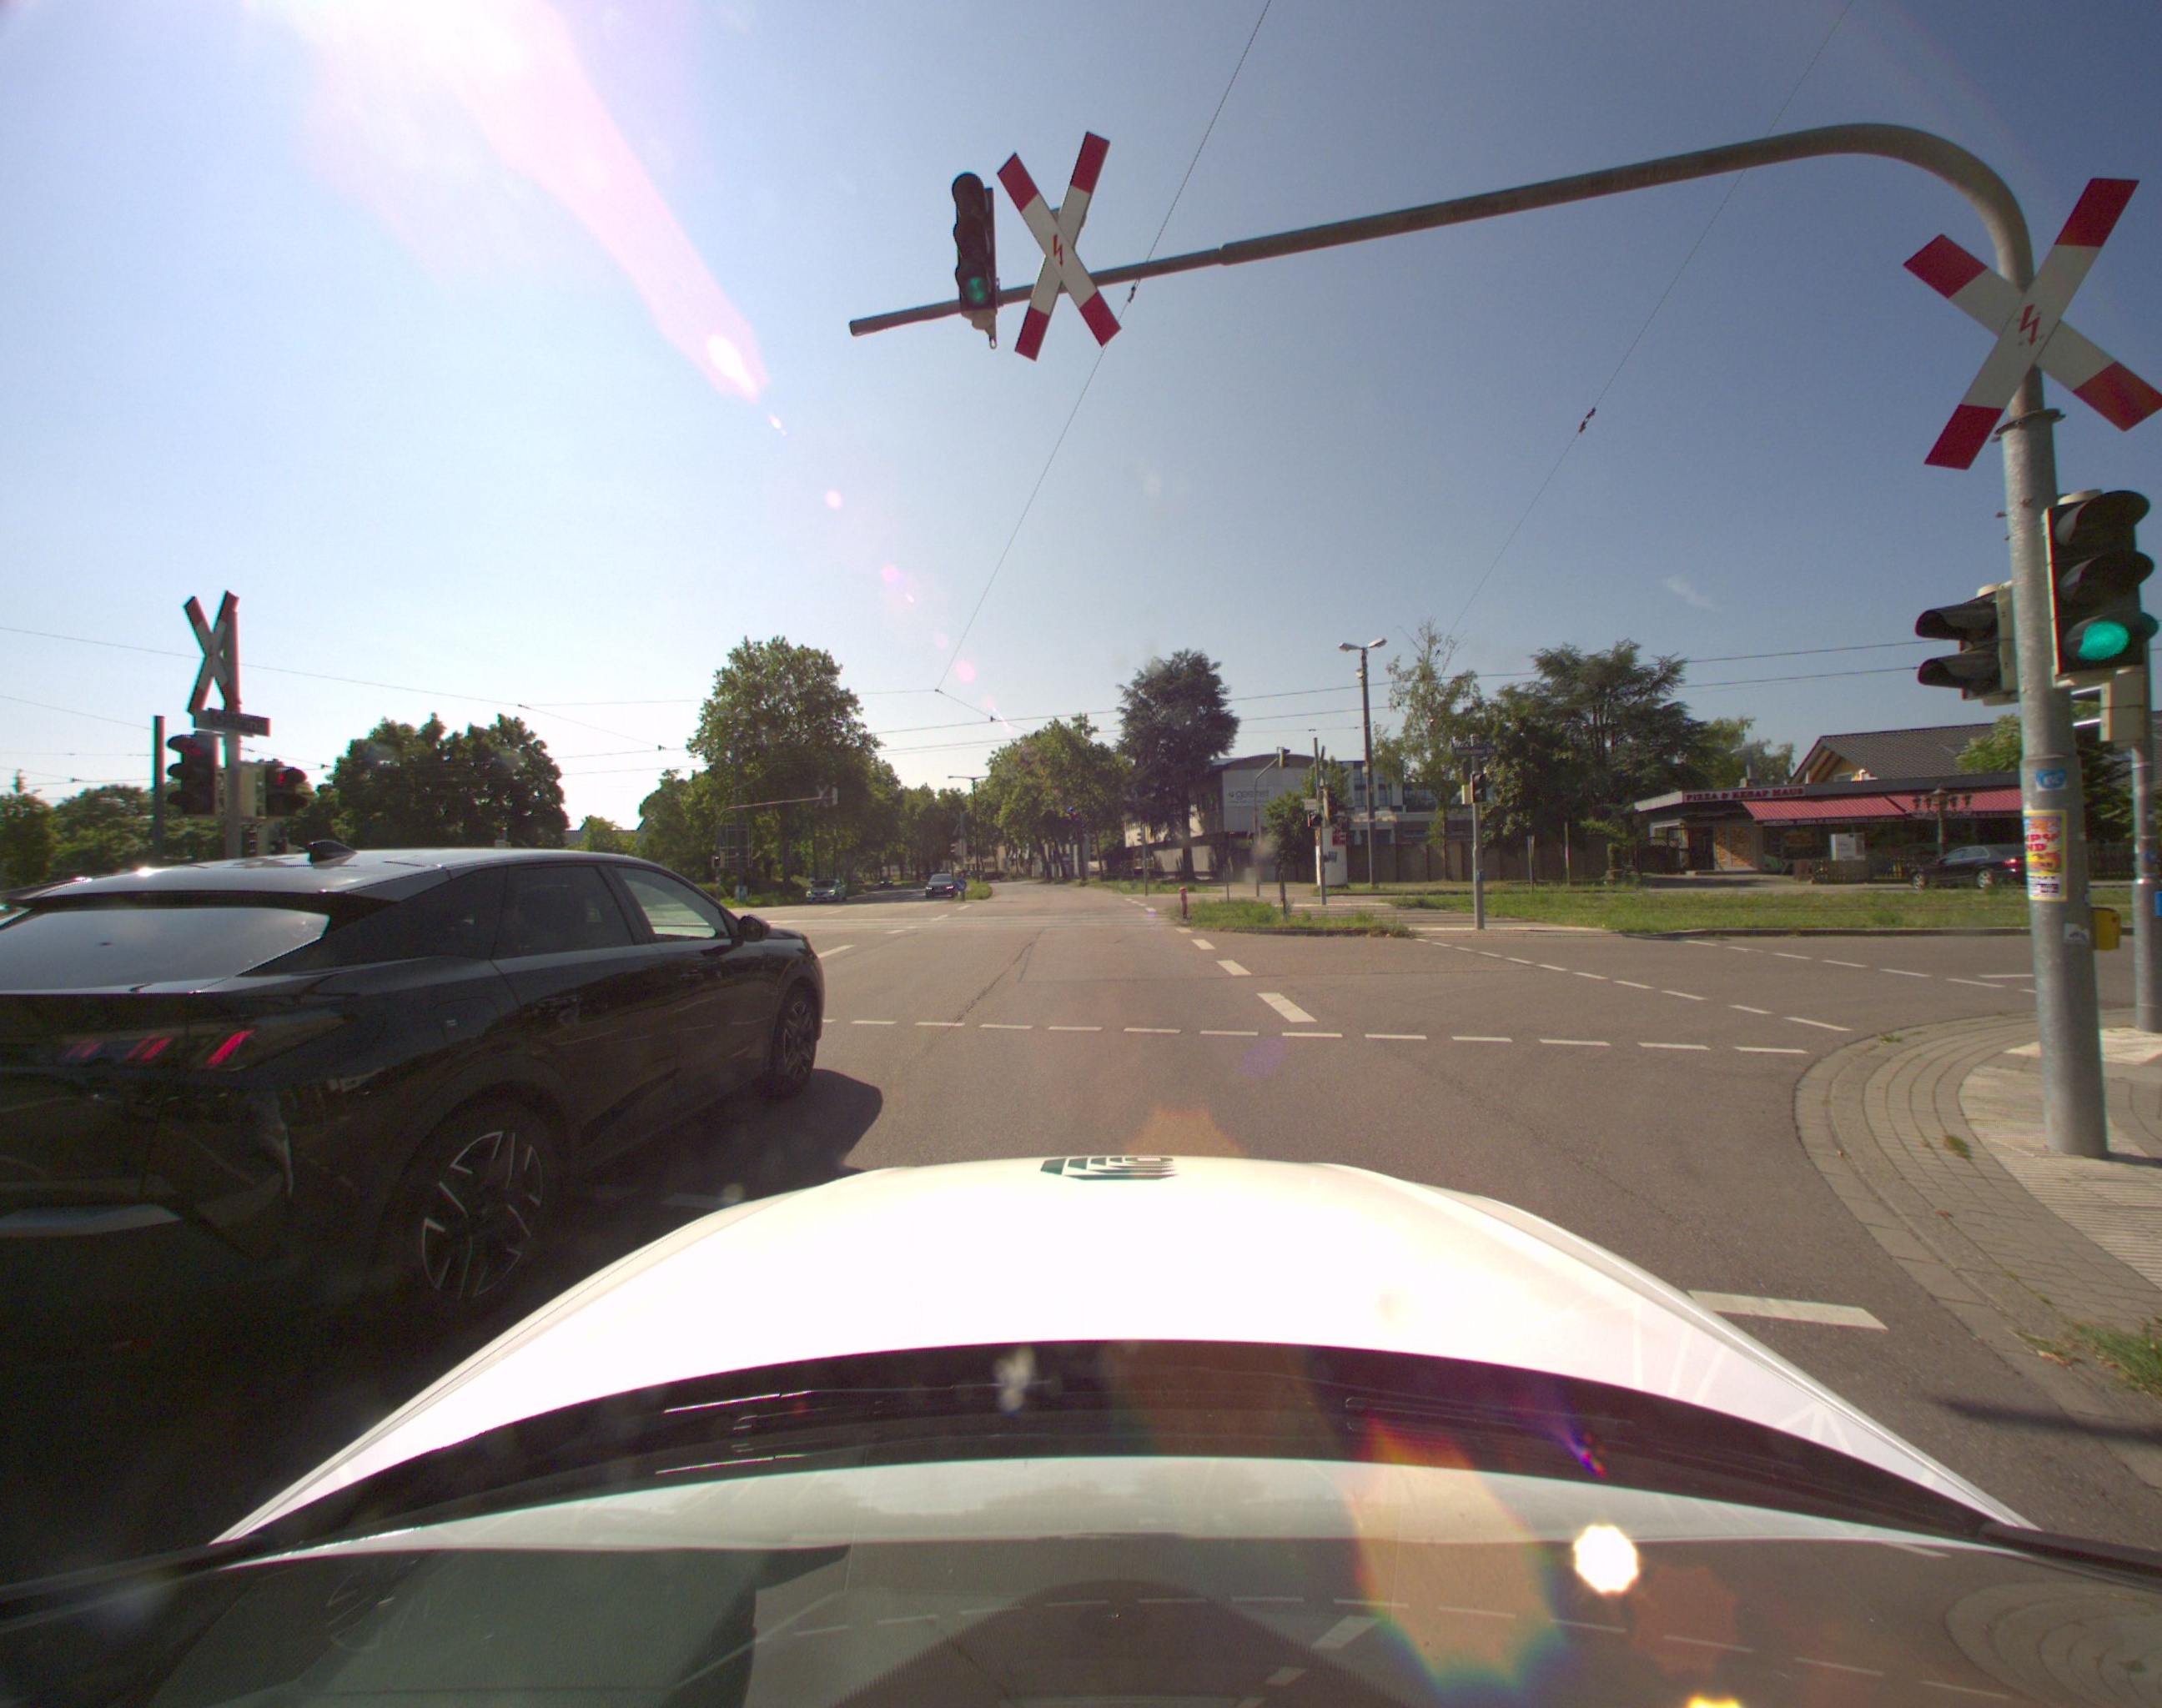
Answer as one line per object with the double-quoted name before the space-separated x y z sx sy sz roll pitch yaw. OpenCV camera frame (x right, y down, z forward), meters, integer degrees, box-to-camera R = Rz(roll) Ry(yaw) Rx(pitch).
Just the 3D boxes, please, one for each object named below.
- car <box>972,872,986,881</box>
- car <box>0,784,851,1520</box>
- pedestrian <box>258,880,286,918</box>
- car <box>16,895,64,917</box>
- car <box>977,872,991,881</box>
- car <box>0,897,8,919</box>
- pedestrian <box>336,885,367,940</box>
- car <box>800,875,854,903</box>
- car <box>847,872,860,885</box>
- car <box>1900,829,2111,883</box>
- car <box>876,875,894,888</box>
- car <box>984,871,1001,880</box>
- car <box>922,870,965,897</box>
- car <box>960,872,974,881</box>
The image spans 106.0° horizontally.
"car" -18.796 4.139 150.298 1.711 1.455 4.627 -2 -1 -17
"car" -2.823 0.722 4.128 1.865 1.696 4.438 -1 -1 2
"pedestrian" -44.042 2.421 44.327 0.792 2.014 0.710 -2 -1 -8
"car" -71.349 3.569 55.812 3.299 1.446 1.457 -2 -2 28
"car" -17.348 3.965 145.333 1.711 1.488 4.076 -2 -1 -17
"car" -72.412 3.586 53.791 3.299 1.446 1.357 -2 -2 28
"pedestrian" -21.562 1.724 24.067 0.672 1.561 0.362 -1 -2 -42
"car" -15.647 2.144 50.402 1.687 1.508 4.663 -2 -1 2
"car" -47.878 5.253 171.461 2.067 2.613 7.168 -3 -1 -20
"car" 29.526 0.143 26.333 2.119 1.499 5.142 -2 -2 18
"car" -26.763 3.680 111.312 1.707 1.589 4.422 -3 -1 -7
"car" -15.223 3.748 140.197 1.713 1.487 4.684 -3 0 -21
"car" -8.379 1.771 49.964 1.687 1.508 4.132 -2 -1 3
"car" -22.623 4.485 161.823 1.714 1.669 4.499 -2 -1 -22
